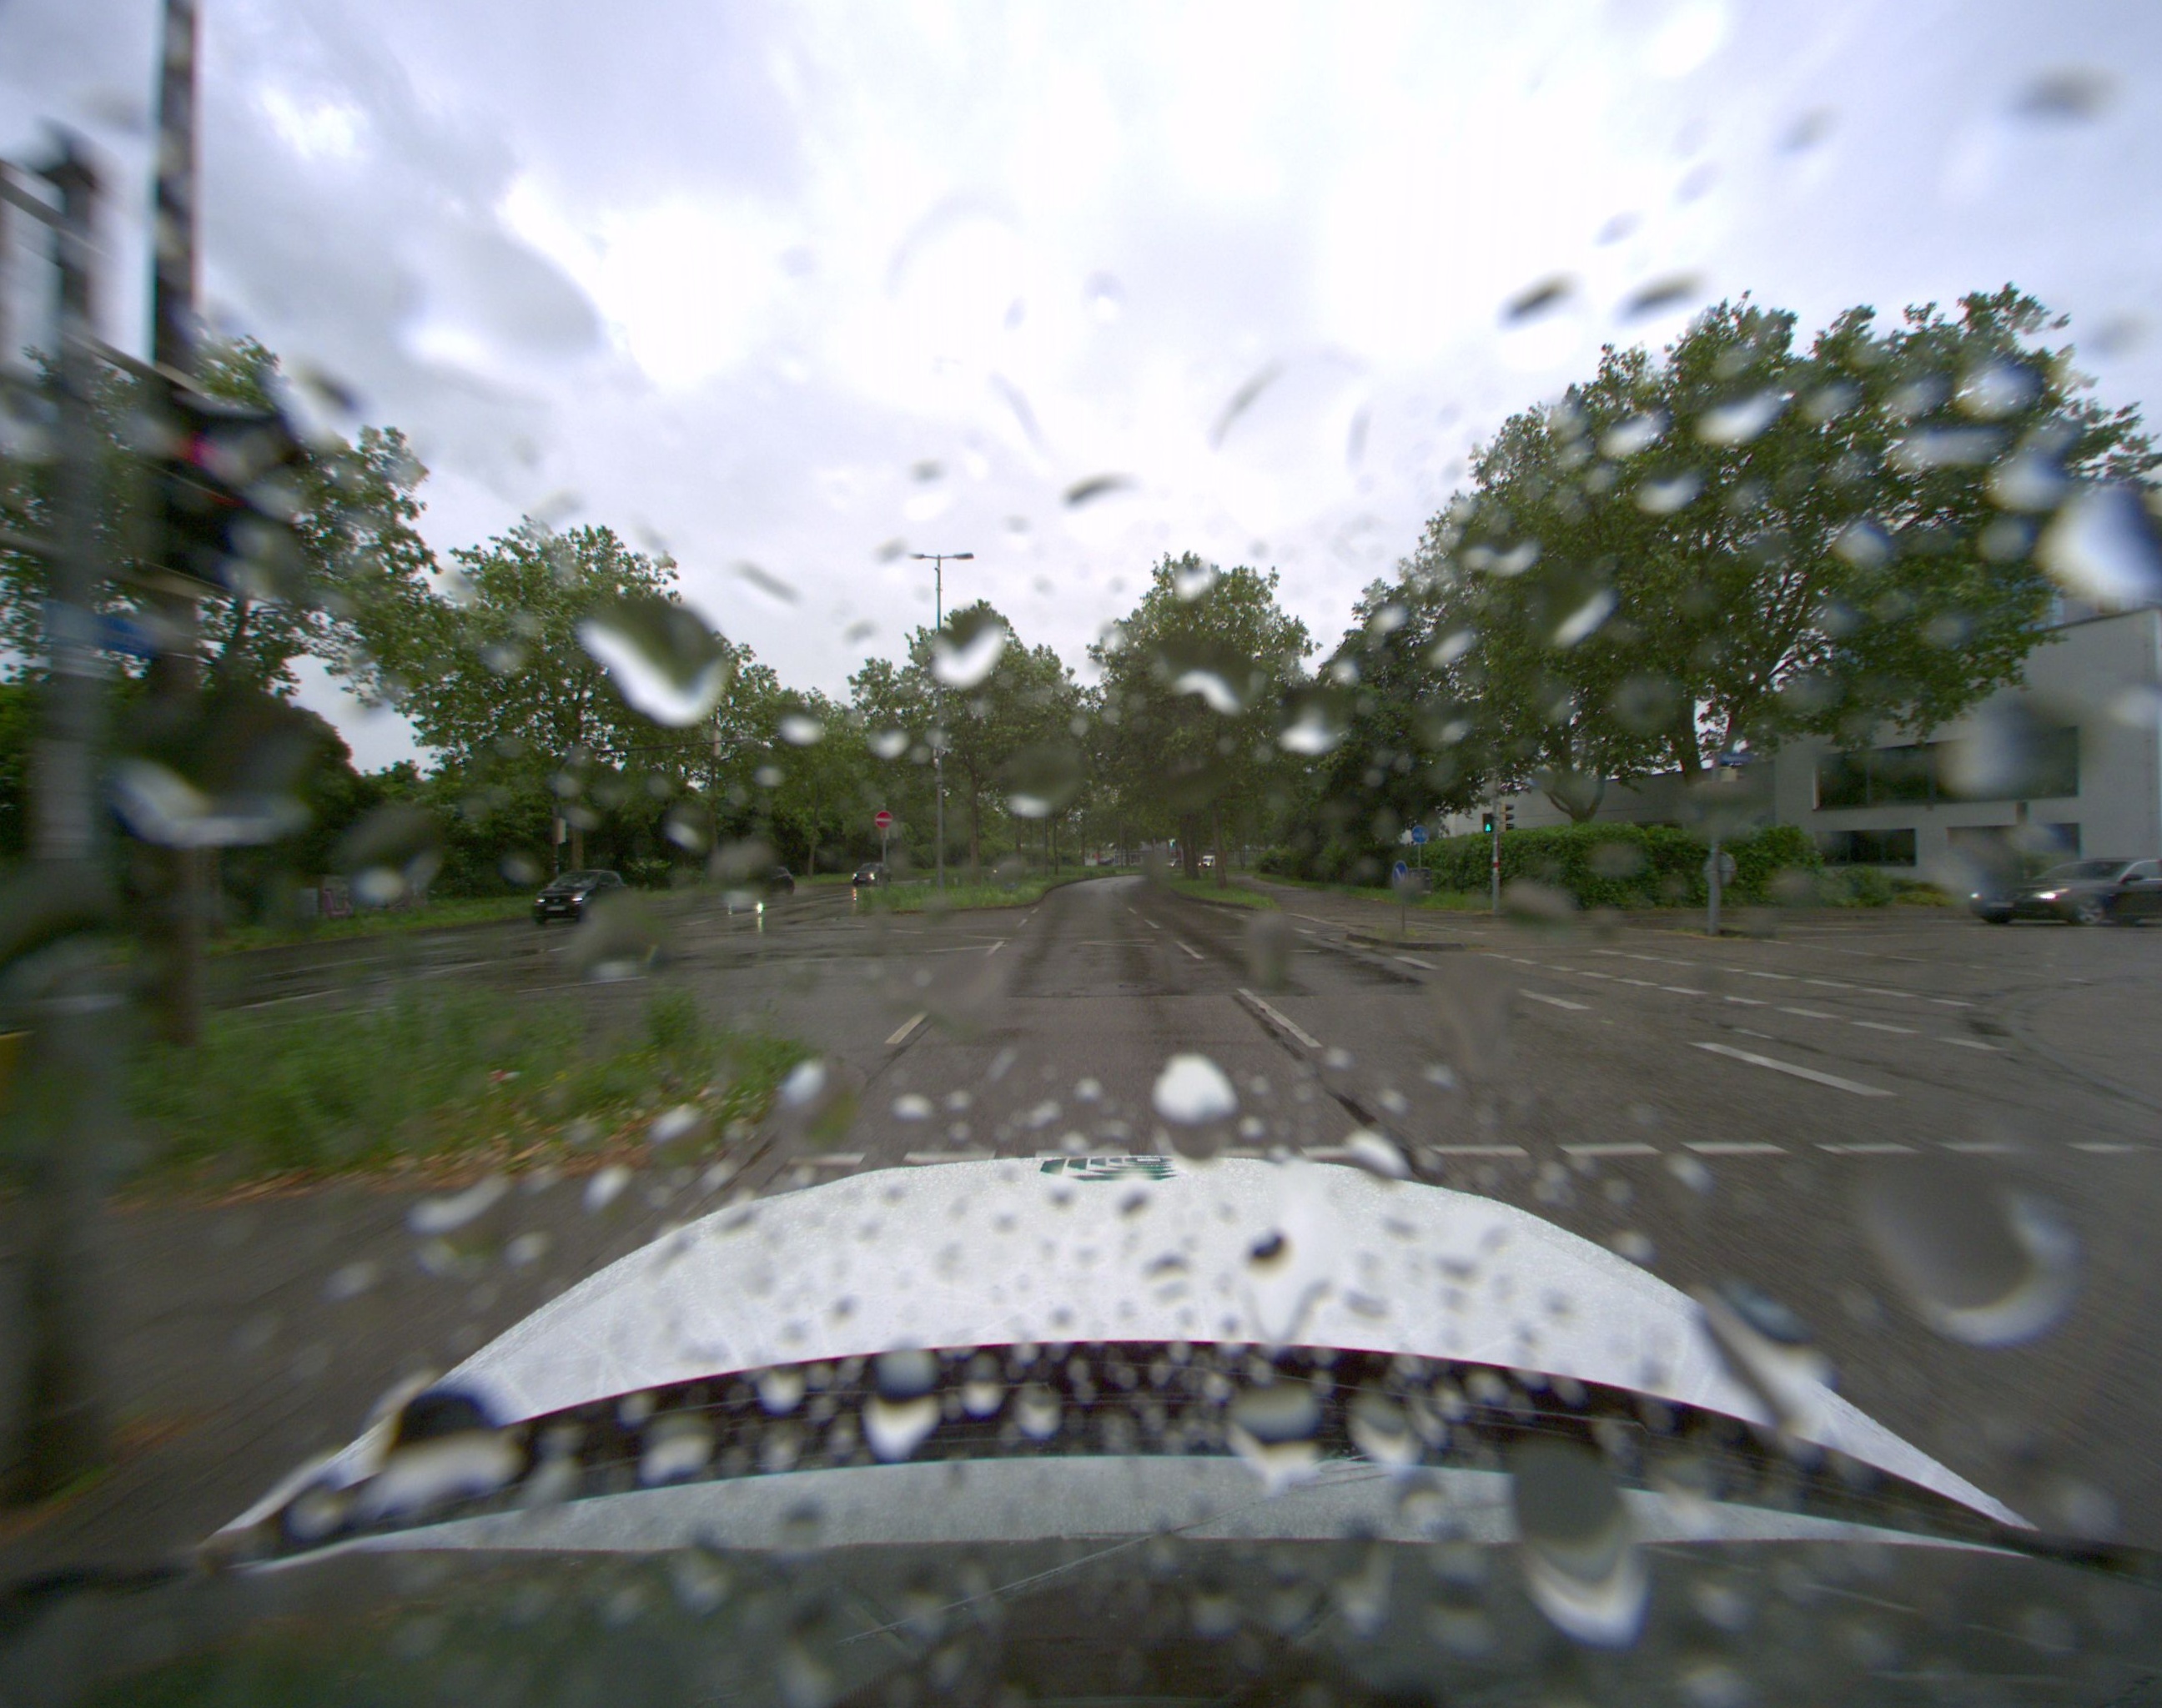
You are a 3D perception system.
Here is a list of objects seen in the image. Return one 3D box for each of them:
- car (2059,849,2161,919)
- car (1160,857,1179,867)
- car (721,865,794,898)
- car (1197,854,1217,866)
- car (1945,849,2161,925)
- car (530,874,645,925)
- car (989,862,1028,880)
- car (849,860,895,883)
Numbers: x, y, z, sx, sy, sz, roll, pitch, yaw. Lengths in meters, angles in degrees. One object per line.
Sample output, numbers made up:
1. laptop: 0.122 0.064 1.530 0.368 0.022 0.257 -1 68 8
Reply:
1. car: 27.088 0.668 19.794 4.276 1.590 1.889 -1 -1 1
2. car: 14.761 1.336 135.113 1.955 1.564 4.755 -1 -1 20
3. car: -14.907 1.237 37.761 1.581 1.373 4.262 -1 -1 1
4. car: 23.295 1.123 150.059 2.262 2.271 5.999 -1 -1 22
5. car: 21.714 0.680 17.432 4.361 1.483 1.853 -1 -2 1
6. car: -15.220 1.361 25.298 1.583 1.373 3.332 -1 -1 -2
7. car: -6.271 1.485 71.259 1.990 1.452 5.007 -1 -1 11
8. car: -13.453 1.085 52.576 1.580 1.373 4.266 -1 -1 4
